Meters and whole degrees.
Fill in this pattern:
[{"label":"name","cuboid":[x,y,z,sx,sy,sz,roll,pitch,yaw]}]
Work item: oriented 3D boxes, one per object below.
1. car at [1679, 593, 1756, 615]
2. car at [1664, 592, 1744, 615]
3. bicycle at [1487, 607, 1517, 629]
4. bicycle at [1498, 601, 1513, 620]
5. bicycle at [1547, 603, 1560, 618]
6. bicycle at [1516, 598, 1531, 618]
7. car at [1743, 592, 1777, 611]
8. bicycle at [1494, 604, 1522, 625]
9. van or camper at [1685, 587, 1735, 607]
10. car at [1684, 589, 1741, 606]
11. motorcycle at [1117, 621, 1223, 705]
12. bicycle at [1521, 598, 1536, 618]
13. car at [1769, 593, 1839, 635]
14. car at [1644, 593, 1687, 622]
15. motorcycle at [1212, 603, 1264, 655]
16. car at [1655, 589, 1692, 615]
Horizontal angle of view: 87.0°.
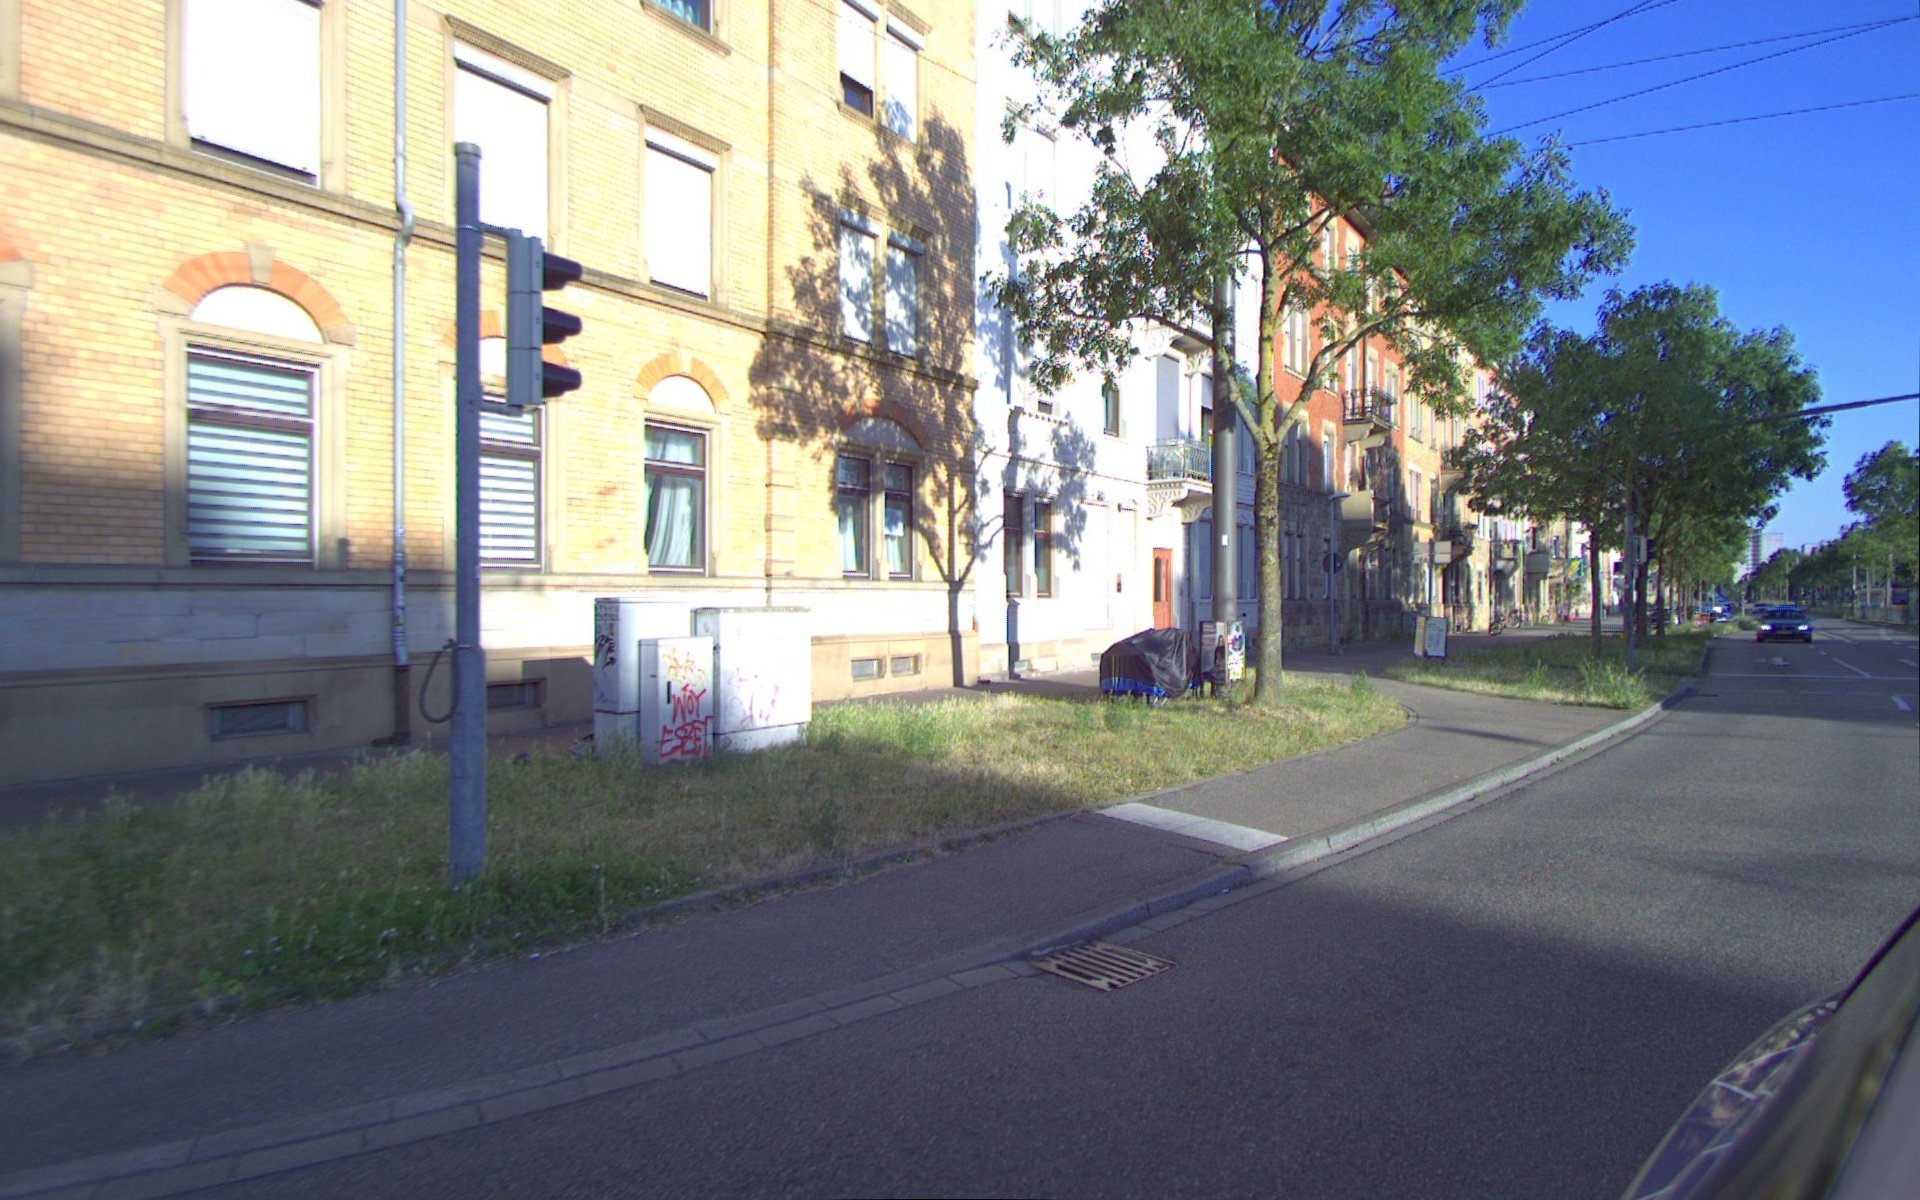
[{"label":"car","cuboid":[56.343,0.288,75.339,1.808,1.541,4.296,-1,0,-19]},{"label":"car","cuboid":[54.300,0.283,73.937,1.959,1.592,4.349,-1,-2,-19]},{"label":"bicycle","cuboid":[25.592,0.839,47.796,0.871,0.927,2.055,1,1,39]},{"label":"bicycle","cuboid":[30.929,0.599,57.394,0.482,1.018,1.722,-1,0,38]},{"label":"bicycle","cuboid":[43.390,0.770,74.002,0.571,1.087,1.871,0,1,38]},{"label":"bicycle","cuboid":[34.864,0.467,62.608,0.482,1.179,1.722,6,4,38]},{"label":"car","cuboid":[70.917,0.130,89.695,1.994,1.686,3.935,0,0,45]},{"label":"bicycle","cuboid":[27.027,0.716,49.878,0.733,0.960,2.304,1,1,41]},{"label":"van or camper","cuboid":[111.147,-0.490,150.071,2.158,2.848,5.662,-1,0,-20]},{"label":"car","cuboid":[76.698,-0.254,103.221,1.876,1.713,4.441,-1,0,-17]},{"label":"motorcycle","cuboid":[2.954,0.841,14.146,0.604,1.057,1.716,-1,0,45]},{"label":"bicycle","cuboid":[36.013,0.497,64.092,0.482,1.179,1.722,6,4,38]},{"label":"car","cuboid":[36.341,0.546,43.550,1.994,1.686,3.936,0,0,45]},{"label":"car","cuboid":[39.924,0.410,57.239,1.700,1.467,4.229,-4,-2,38]},{"label":"motorcycle","cuboid":[7.091,0.716,25.716,0.552,1.229,2.046,-2,-1,36]},{"label":"car","cuboid":[45.604,0.117,64.650,1.721,1.531,4.214,-4,-2,37]}]
